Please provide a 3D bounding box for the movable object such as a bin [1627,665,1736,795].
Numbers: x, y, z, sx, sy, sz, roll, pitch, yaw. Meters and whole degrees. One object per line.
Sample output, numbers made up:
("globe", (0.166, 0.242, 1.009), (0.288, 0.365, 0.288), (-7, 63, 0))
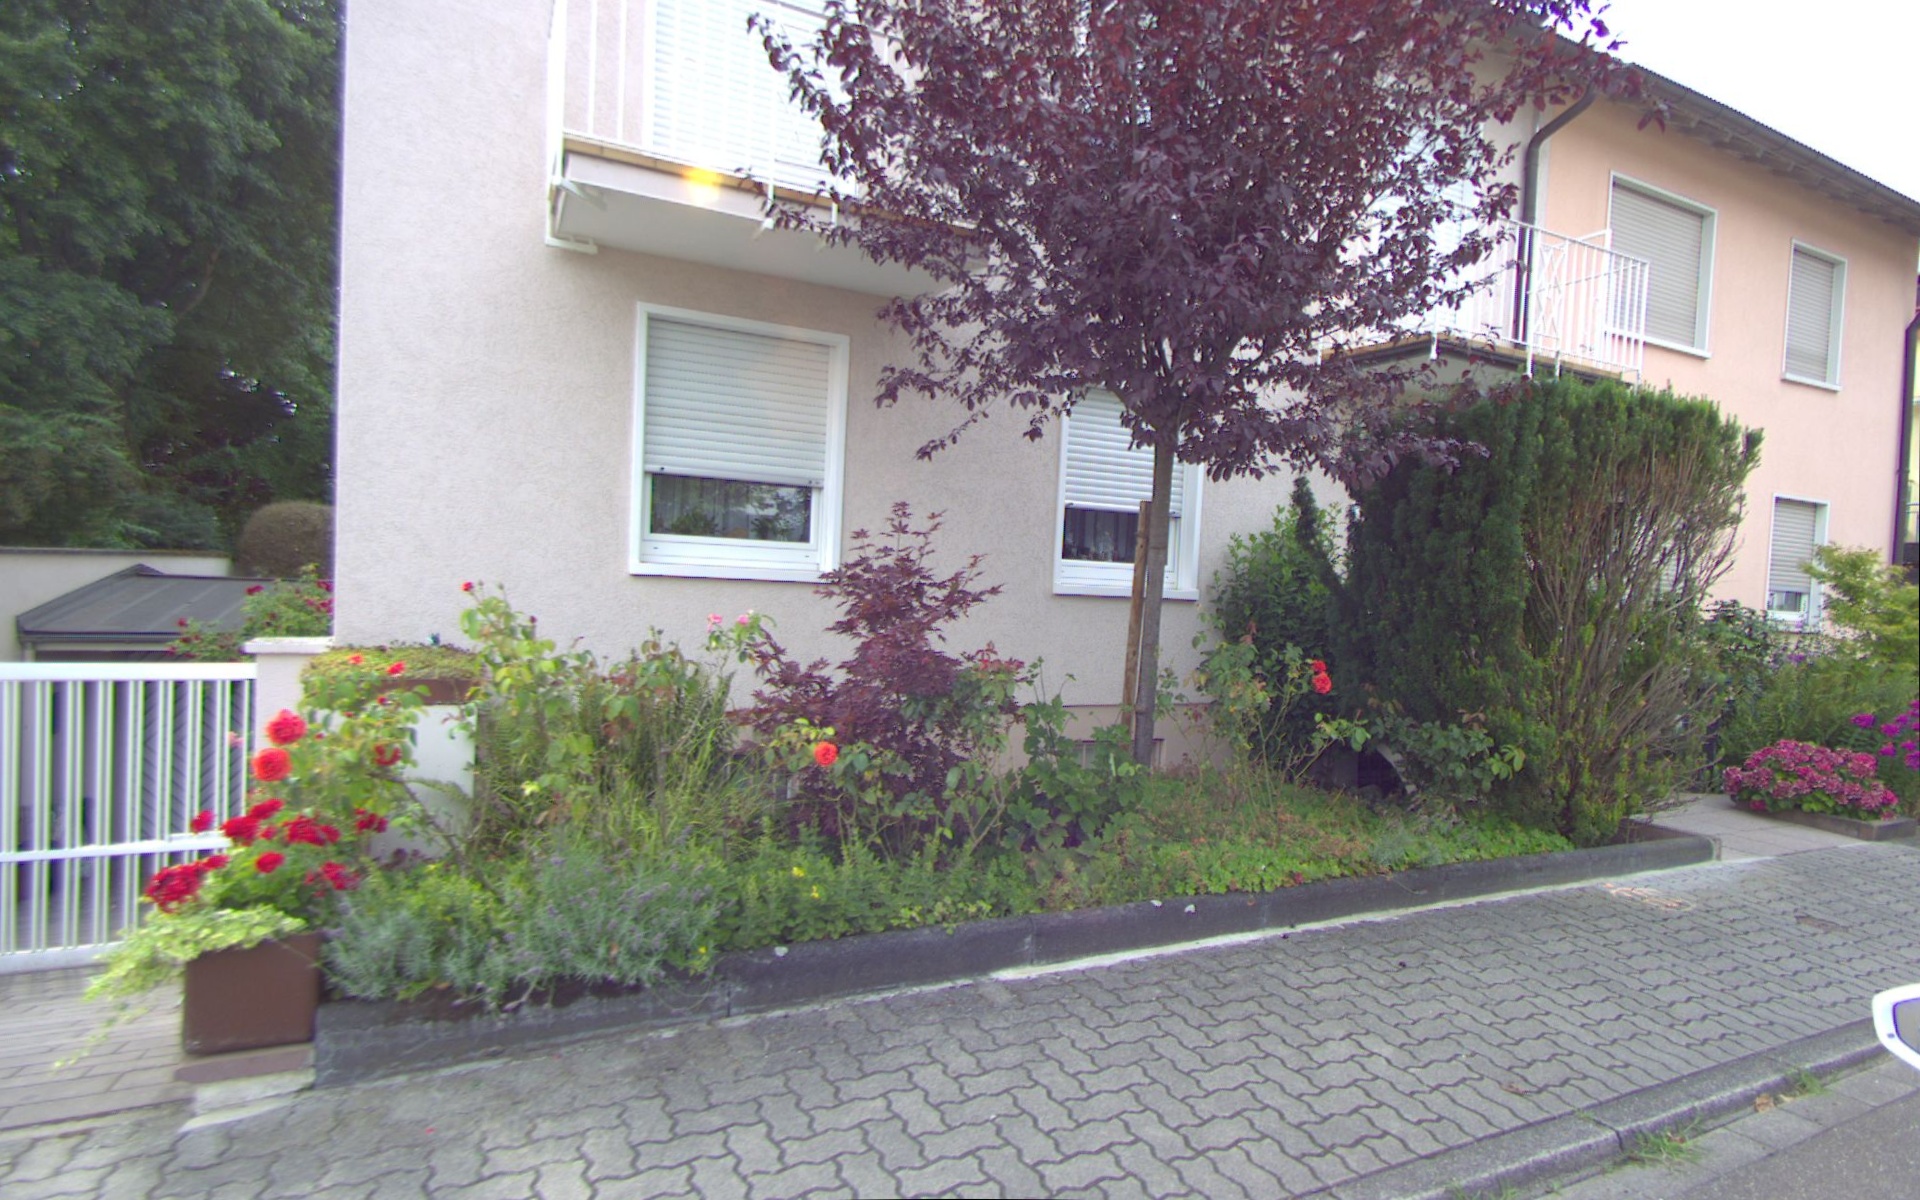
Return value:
("movable object such as a bin", (5.673, 1.001, 7.909), (0.499, 0.943, 0.487), (2, 1, -27))
